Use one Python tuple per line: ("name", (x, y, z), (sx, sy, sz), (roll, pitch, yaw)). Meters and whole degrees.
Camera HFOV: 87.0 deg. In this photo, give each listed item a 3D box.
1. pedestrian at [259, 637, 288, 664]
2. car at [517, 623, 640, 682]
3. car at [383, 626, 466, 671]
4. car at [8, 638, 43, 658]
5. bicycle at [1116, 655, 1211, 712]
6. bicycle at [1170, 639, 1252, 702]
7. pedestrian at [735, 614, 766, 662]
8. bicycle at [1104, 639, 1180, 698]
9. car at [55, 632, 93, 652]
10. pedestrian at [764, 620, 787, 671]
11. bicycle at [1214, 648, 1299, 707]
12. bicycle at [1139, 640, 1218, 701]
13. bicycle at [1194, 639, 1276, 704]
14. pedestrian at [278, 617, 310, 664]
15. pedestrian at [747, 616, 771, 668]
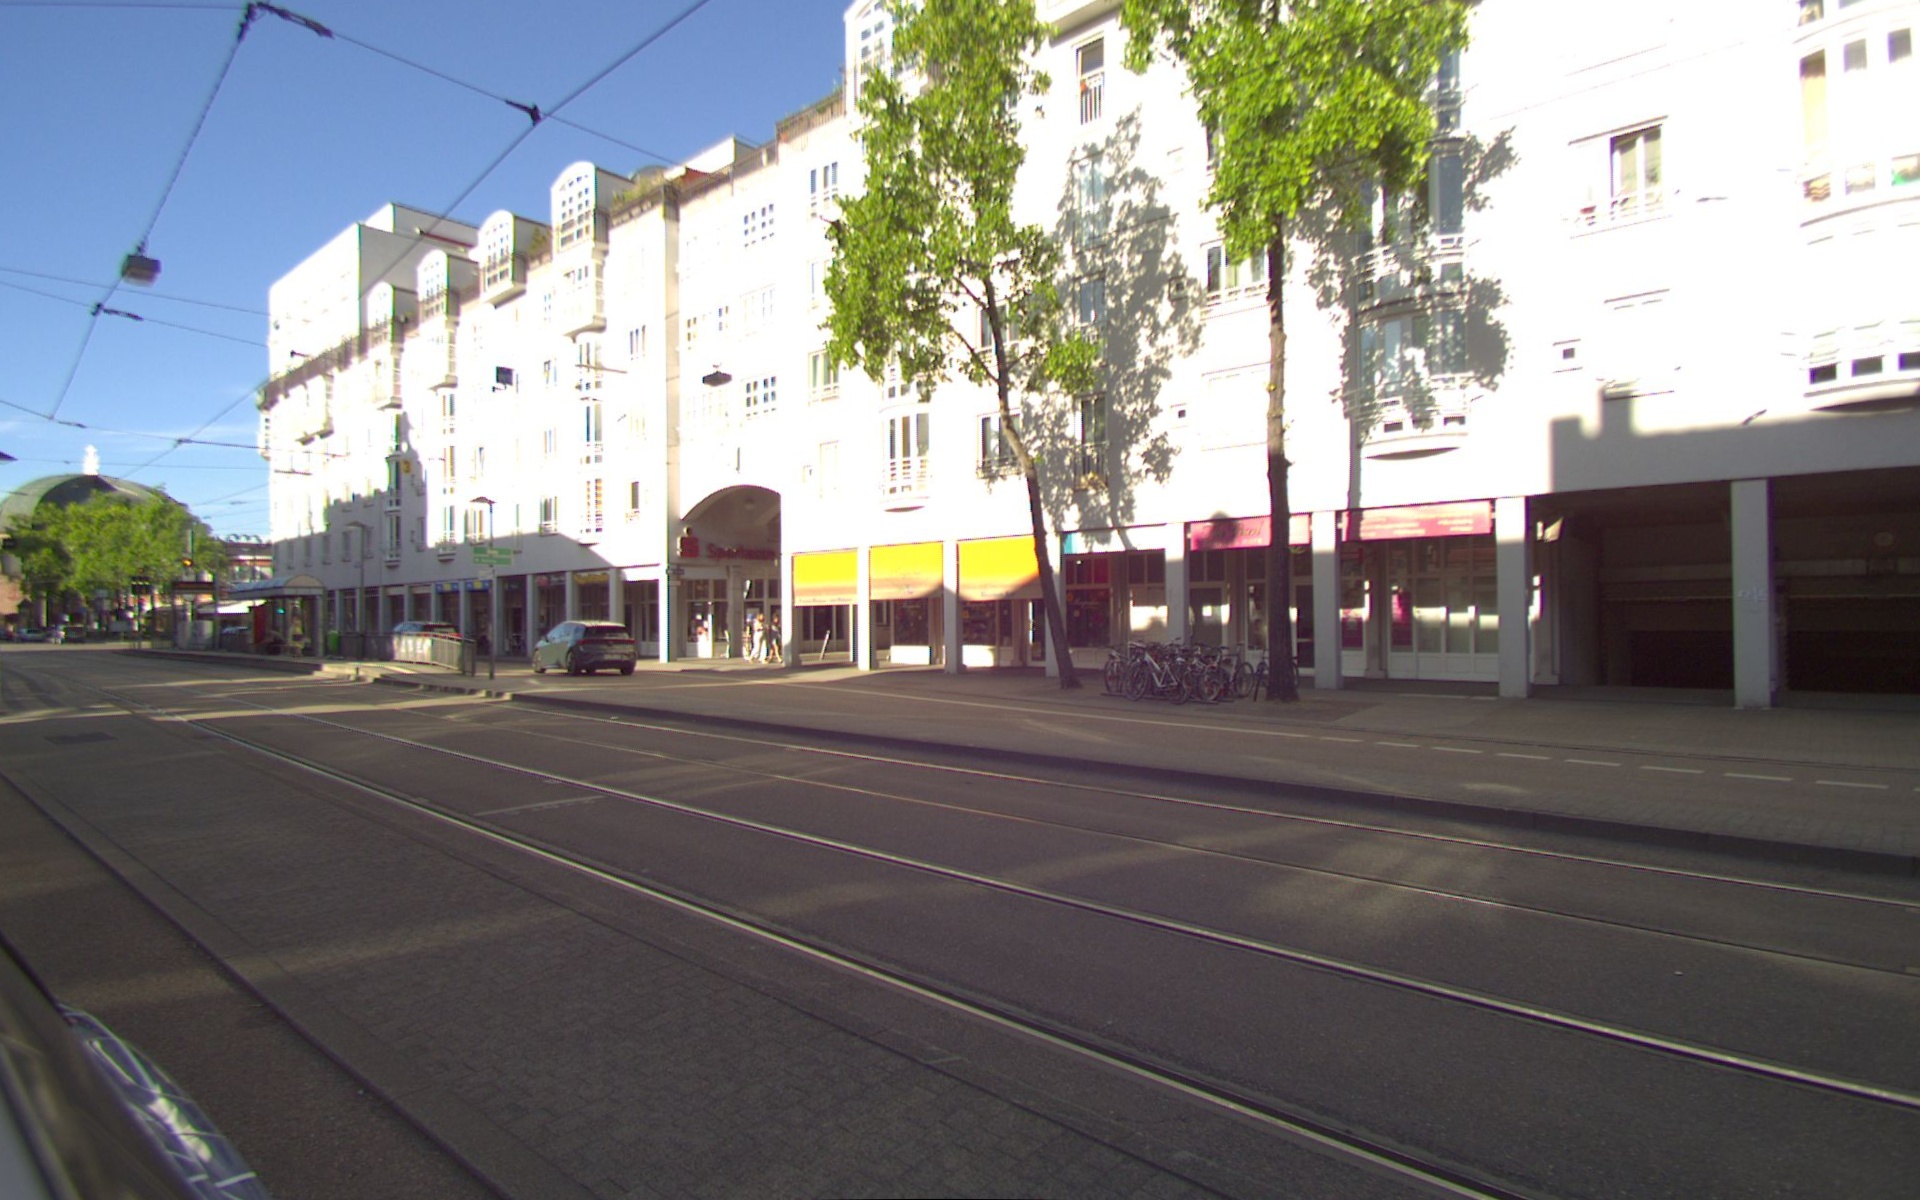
("pedestrian", (-26.804, 1.953, 39.496), (0.747, 0.995, 0.784), (0, 0, 42))
("car", (-10.990, 1.483, 29.012), (1.758, 1.552, 4.272), (4, -4, -43))
("car", (-21.114, 1.876, 39.809), (1.758, 1.681, 4.776), (2, -3, -42))
("car", (-91.670, 4.674, 99.291), (3.995, 1.918, 1.974), (-2, -2, 39))
("bicycle", (3.629, 1.475, 18.175), (0.464, 0.939, 1.757), (0, -2, -39))
("bicycle", (4.675, 1.289, 18.790), (1.850, 1.085, 0.465), (0, -2, -41))
("pedestrian", (-7.289, 1.317, 35.194), (0.731, 1.657, 0.737), (-2, -2, 42))
("bicycle", (3.676, 1.347, 20.320), (1.851, 1.085, 0.512), (1, -2, -44))
("car", (-76.607, 3.591, 87.504), (3.999, 1.630, 1.972), (-2, -1, 42))
("pedestrian", (-6.035, 1.479, 33.118), (0.523, 1.657, 0.556), (-2, -3, 42))
("bicycle", (5.252, 1.351, 17.881), (1.726, 0.939, 0.571), (0, -2, -40))
("bicycle", (4.246, 1.338, 19.604), (1.850, 1.085, 0.465), (0, -2, -41))
("bicycle", (5.018, 1.271, 18.414), (1.850, 1.085, 0.465), (0, -2, -41))
("pedestrian", (-23.969, 1.452, 36.425), (0.747, 1.657, 0.784), (-2, -2, 42))
("pedestrian", (-6.487, 1.338, 32.714), (0.523, 1.657, 0.556), (-2, -2, 42))
